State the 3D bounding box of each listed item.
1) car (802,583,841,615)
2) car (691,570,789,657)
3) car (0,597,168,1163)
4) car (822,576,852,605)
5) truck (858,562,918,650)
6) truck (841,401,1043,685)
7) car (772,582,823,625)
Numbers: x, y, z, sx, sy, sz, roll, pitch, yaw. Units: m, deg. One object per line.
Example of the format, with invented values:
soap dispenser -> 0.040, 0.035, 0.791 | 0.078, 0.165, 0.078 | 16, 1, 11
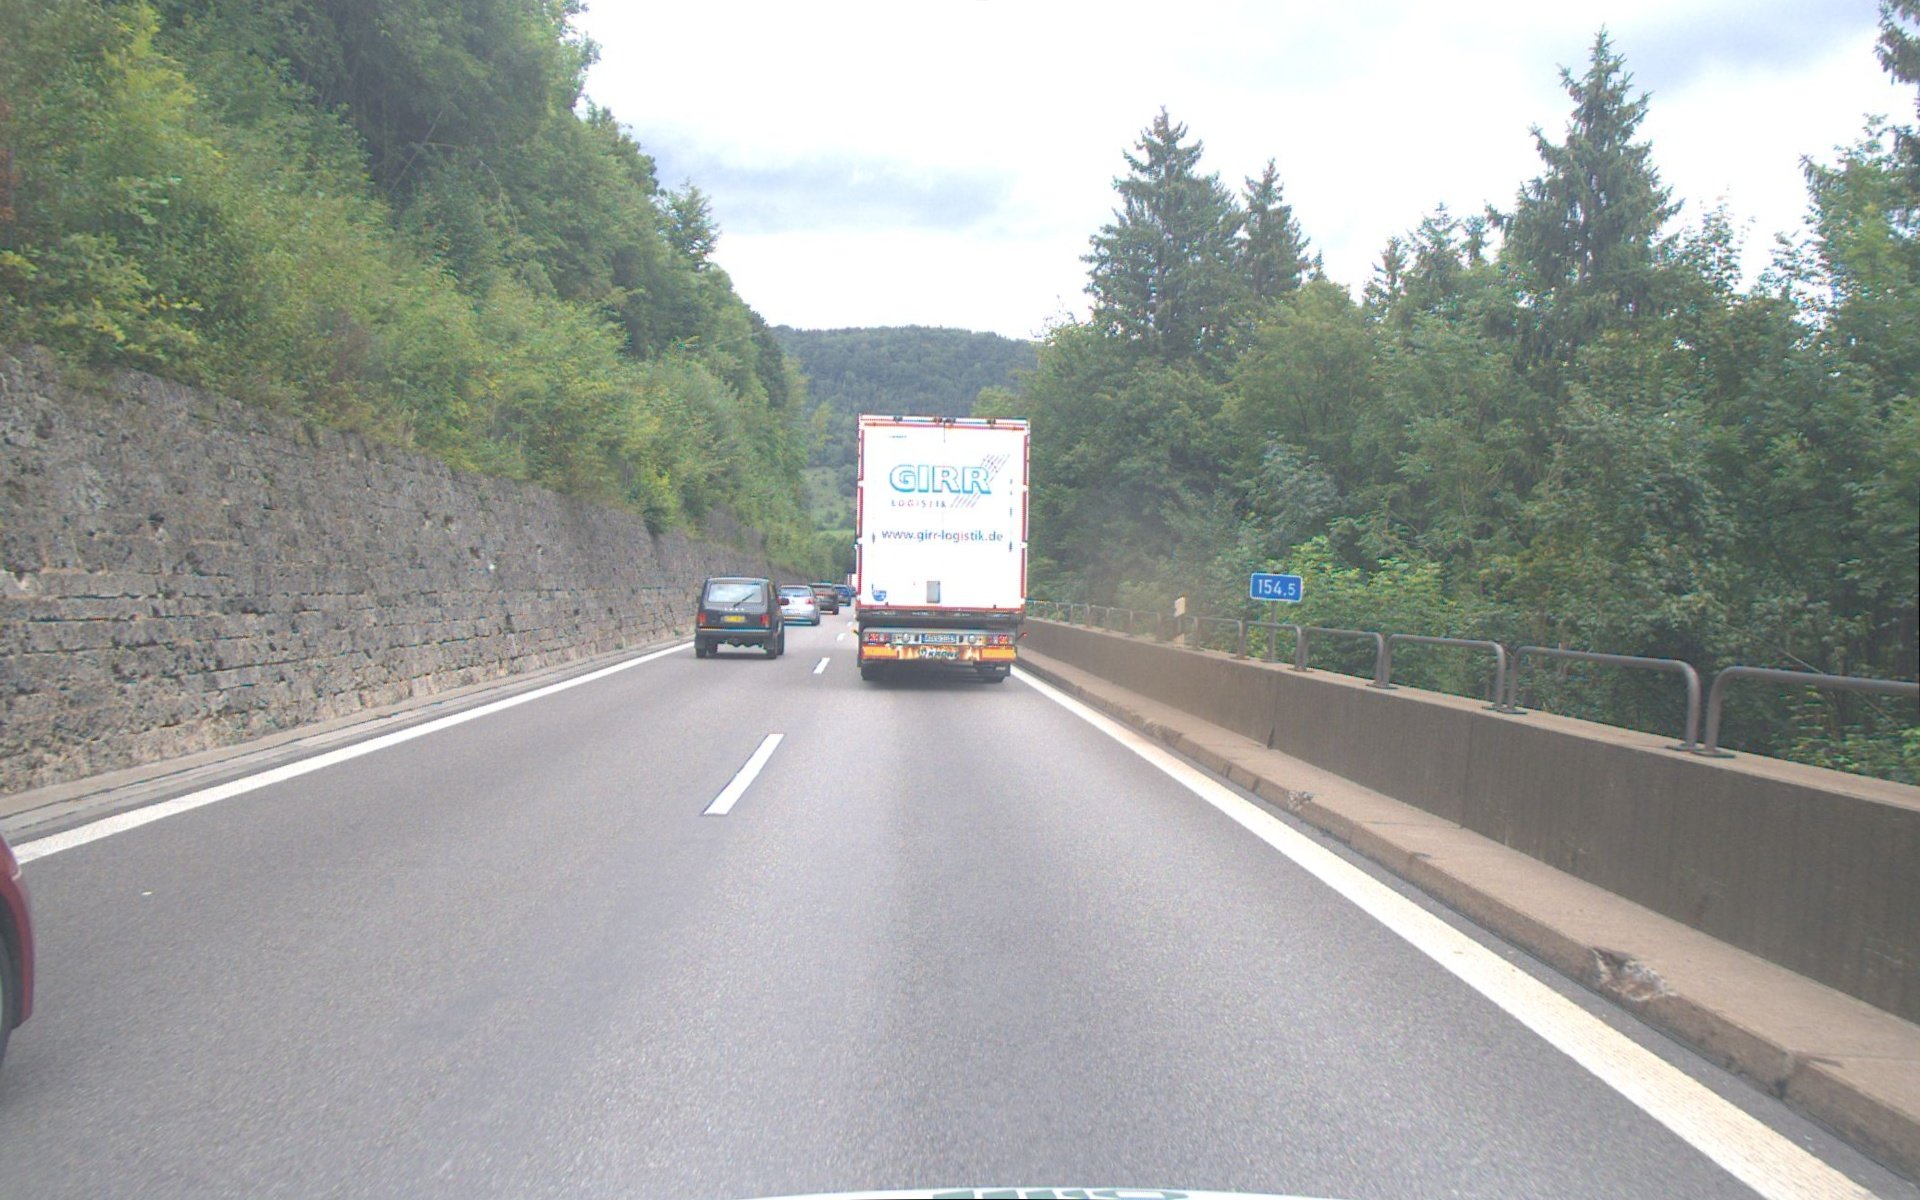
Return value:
car -> -7.285, -0.030, 87.052 | 1.878, 1.623, 4.176 | 1, 0, -3
car -> -4.530, 0.272, 34.554 | 1.635, 1.667, 4.066 | 1, 0, -3
car -> -3.374, 0.720, 3.016 | 1.730, 1.485, 4.410 | 1, 0, 0
car -> -9.077, -0.690, 122.566 | 1.953, 2.049, 3.998 | 2, -1, -2
truck -> -3.263, 0.255, 73.744 | 2.437, 3.634, 9.302 | 1, 0, -3
truck -> -0.425, -0.828, 28.509 | 2.850, 4.030, 9.274 | 1, 0, -2
car -> -6.115, 0.135, 62.496 | 1.694, 1.512, 3.997 | 1, 0, -3
